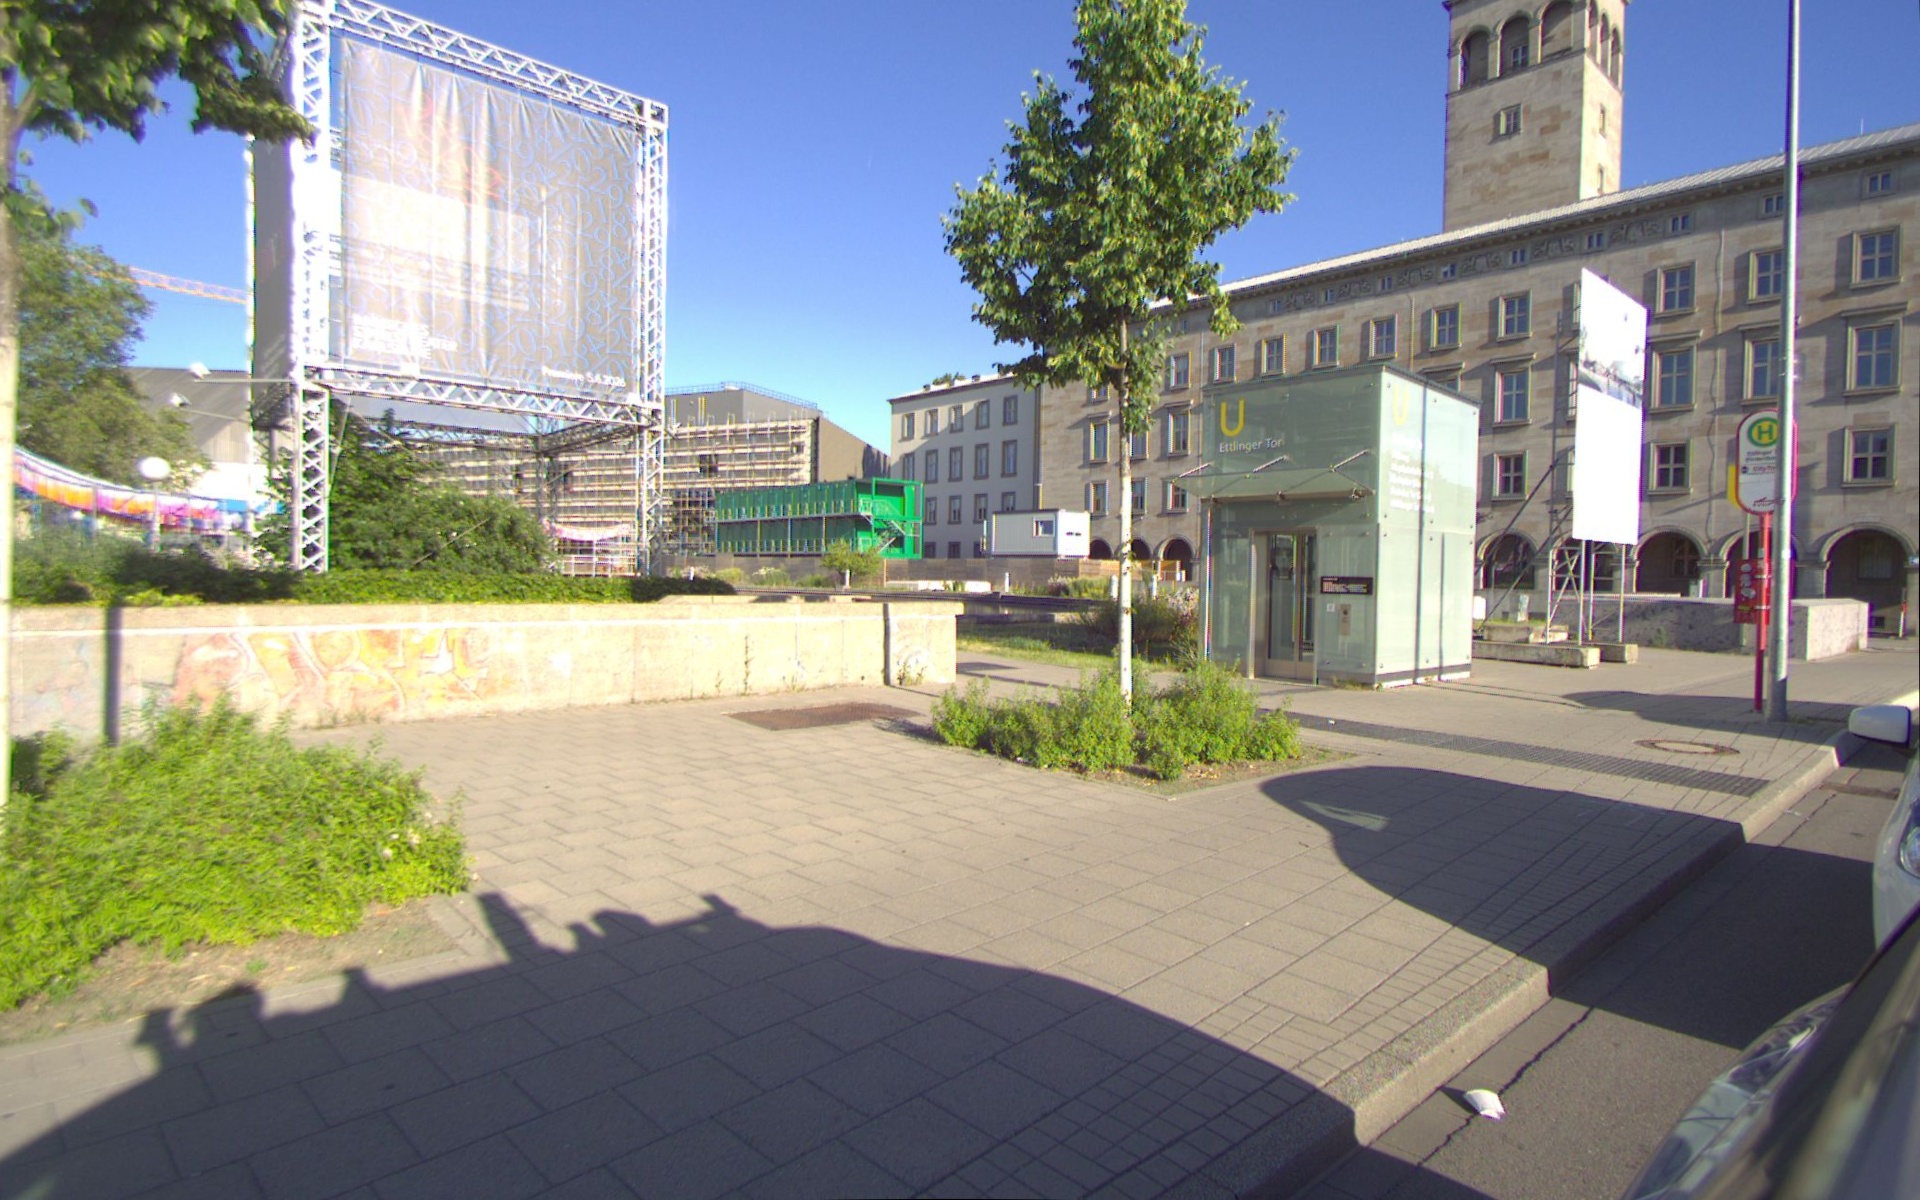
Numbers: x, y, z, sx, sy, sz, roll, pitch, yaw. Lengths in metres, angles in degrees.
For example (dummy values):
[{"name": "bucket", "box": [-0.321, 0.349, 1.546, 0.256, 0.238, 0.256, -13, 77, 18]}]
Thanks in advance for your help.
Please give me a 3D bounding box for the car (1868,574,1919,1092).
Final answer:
[{"name": "car", "box": [4.641, 0.678, 3.663, 3.930, 1.473, 1.518, 0, 2, -41]}]
